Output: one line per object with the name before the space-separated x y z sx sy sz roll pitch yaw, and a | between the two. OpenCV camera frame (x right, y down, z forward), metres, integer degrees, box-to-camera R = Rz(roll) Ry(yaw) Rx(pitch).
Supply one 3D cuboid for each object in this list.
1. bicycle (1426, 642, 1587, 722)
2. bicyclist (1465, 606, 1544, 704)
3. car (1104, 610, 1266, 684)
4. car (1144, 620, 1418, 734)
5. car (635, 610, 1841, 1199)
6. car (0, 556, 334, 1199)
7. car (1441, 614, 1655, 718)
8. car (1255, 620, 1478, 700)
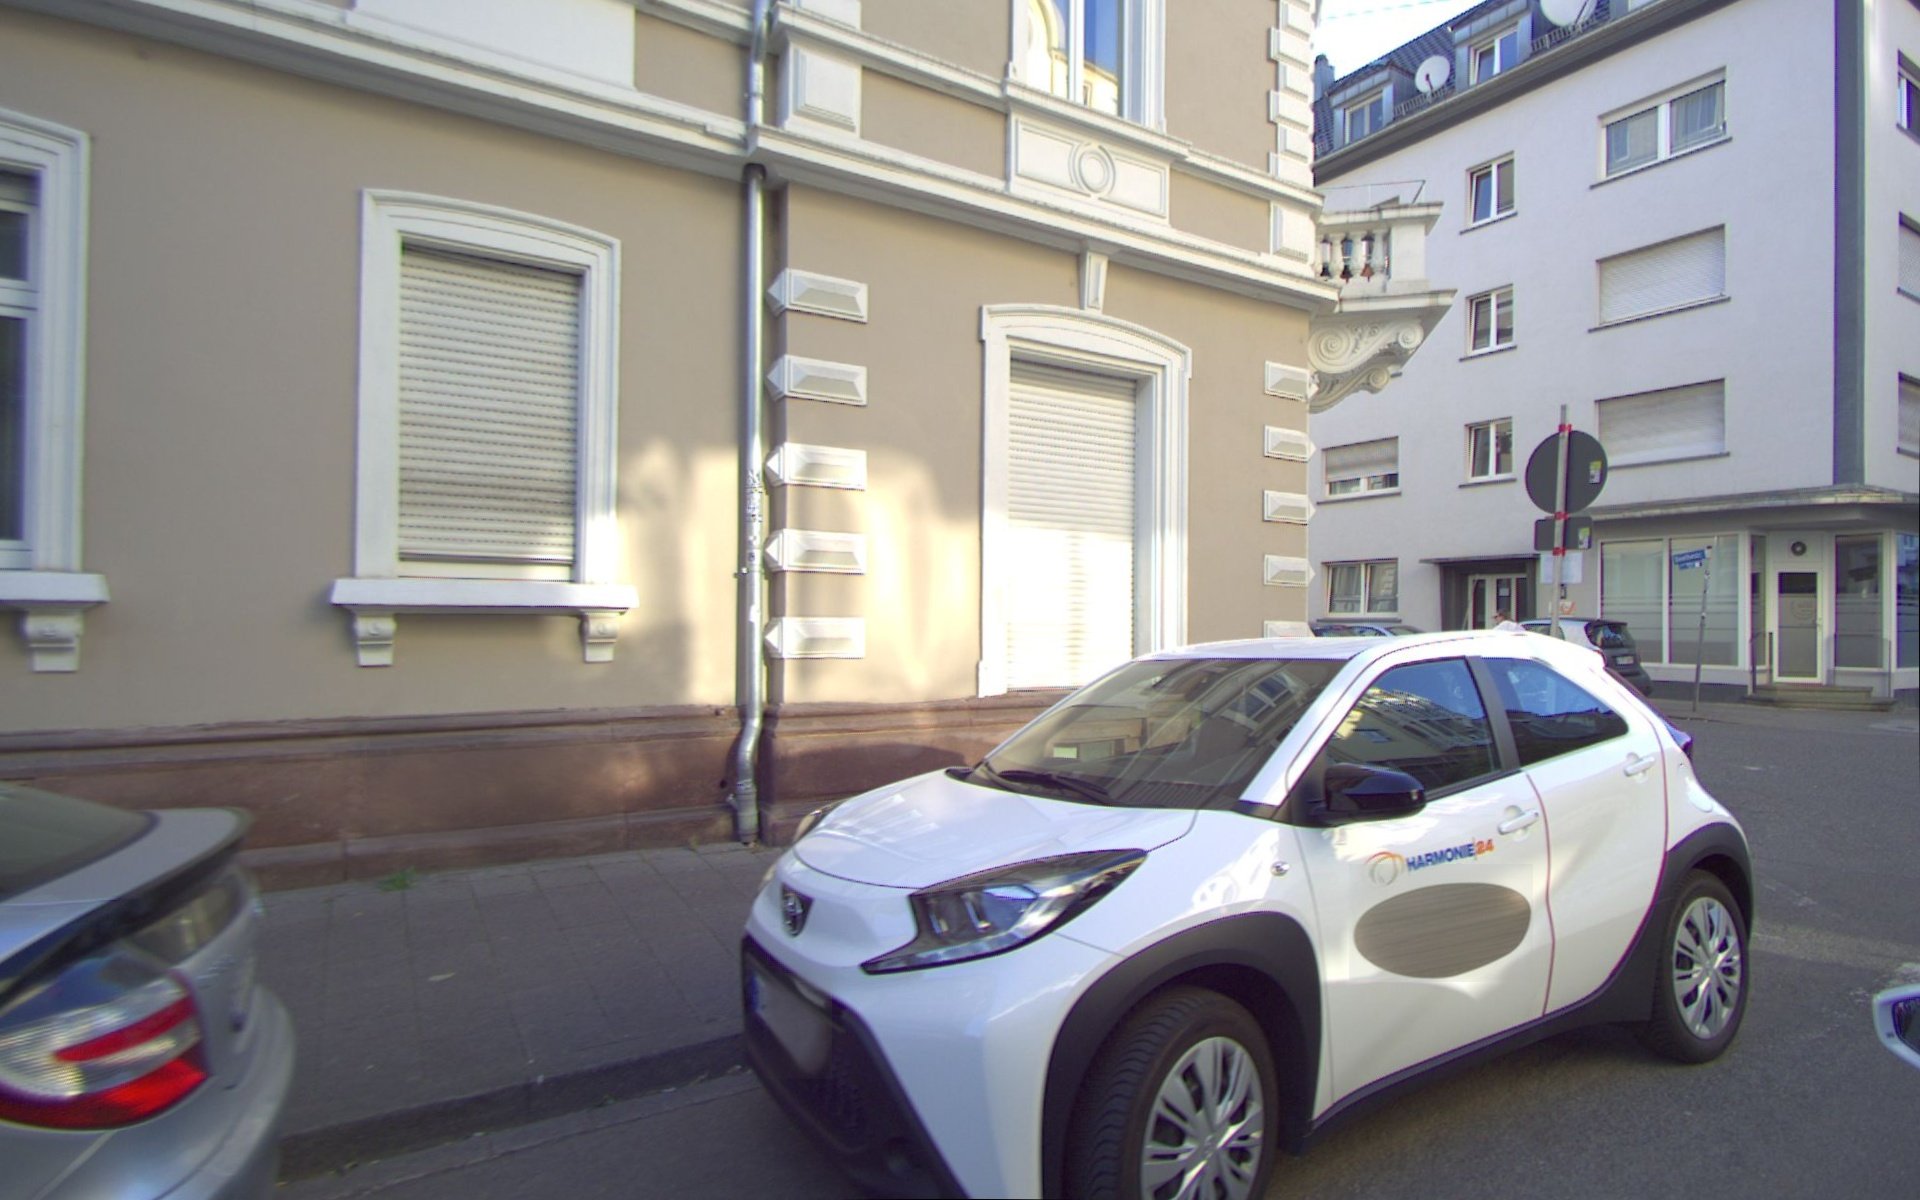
bicycle | 8.393 1.225 15.479 2.082 1.041 0.732 1 0 39
bicyclist | 8.393 0.819 15.484 0.926 1.431 0.732 2 0 39
car | 5.509 1.102 25.024 1.586 1.626 3.995 1 0 -32
car | 4.681 1.048 15.048 1.712 1.470 3.640 1 -1 -35
car | 1.185 0.849 3.688 4.219 1.527 1.911 1 -3 -32
car | -3.200 0.766 1.129 4.220 1.580 1.910 1 -3 -33
car | 10.058 1.061 17.328 1.575 1.560 2.773 1 0 -30
car | 8.284 1.155 20.832 1.585 1.422 4.181 1 -1 -32
